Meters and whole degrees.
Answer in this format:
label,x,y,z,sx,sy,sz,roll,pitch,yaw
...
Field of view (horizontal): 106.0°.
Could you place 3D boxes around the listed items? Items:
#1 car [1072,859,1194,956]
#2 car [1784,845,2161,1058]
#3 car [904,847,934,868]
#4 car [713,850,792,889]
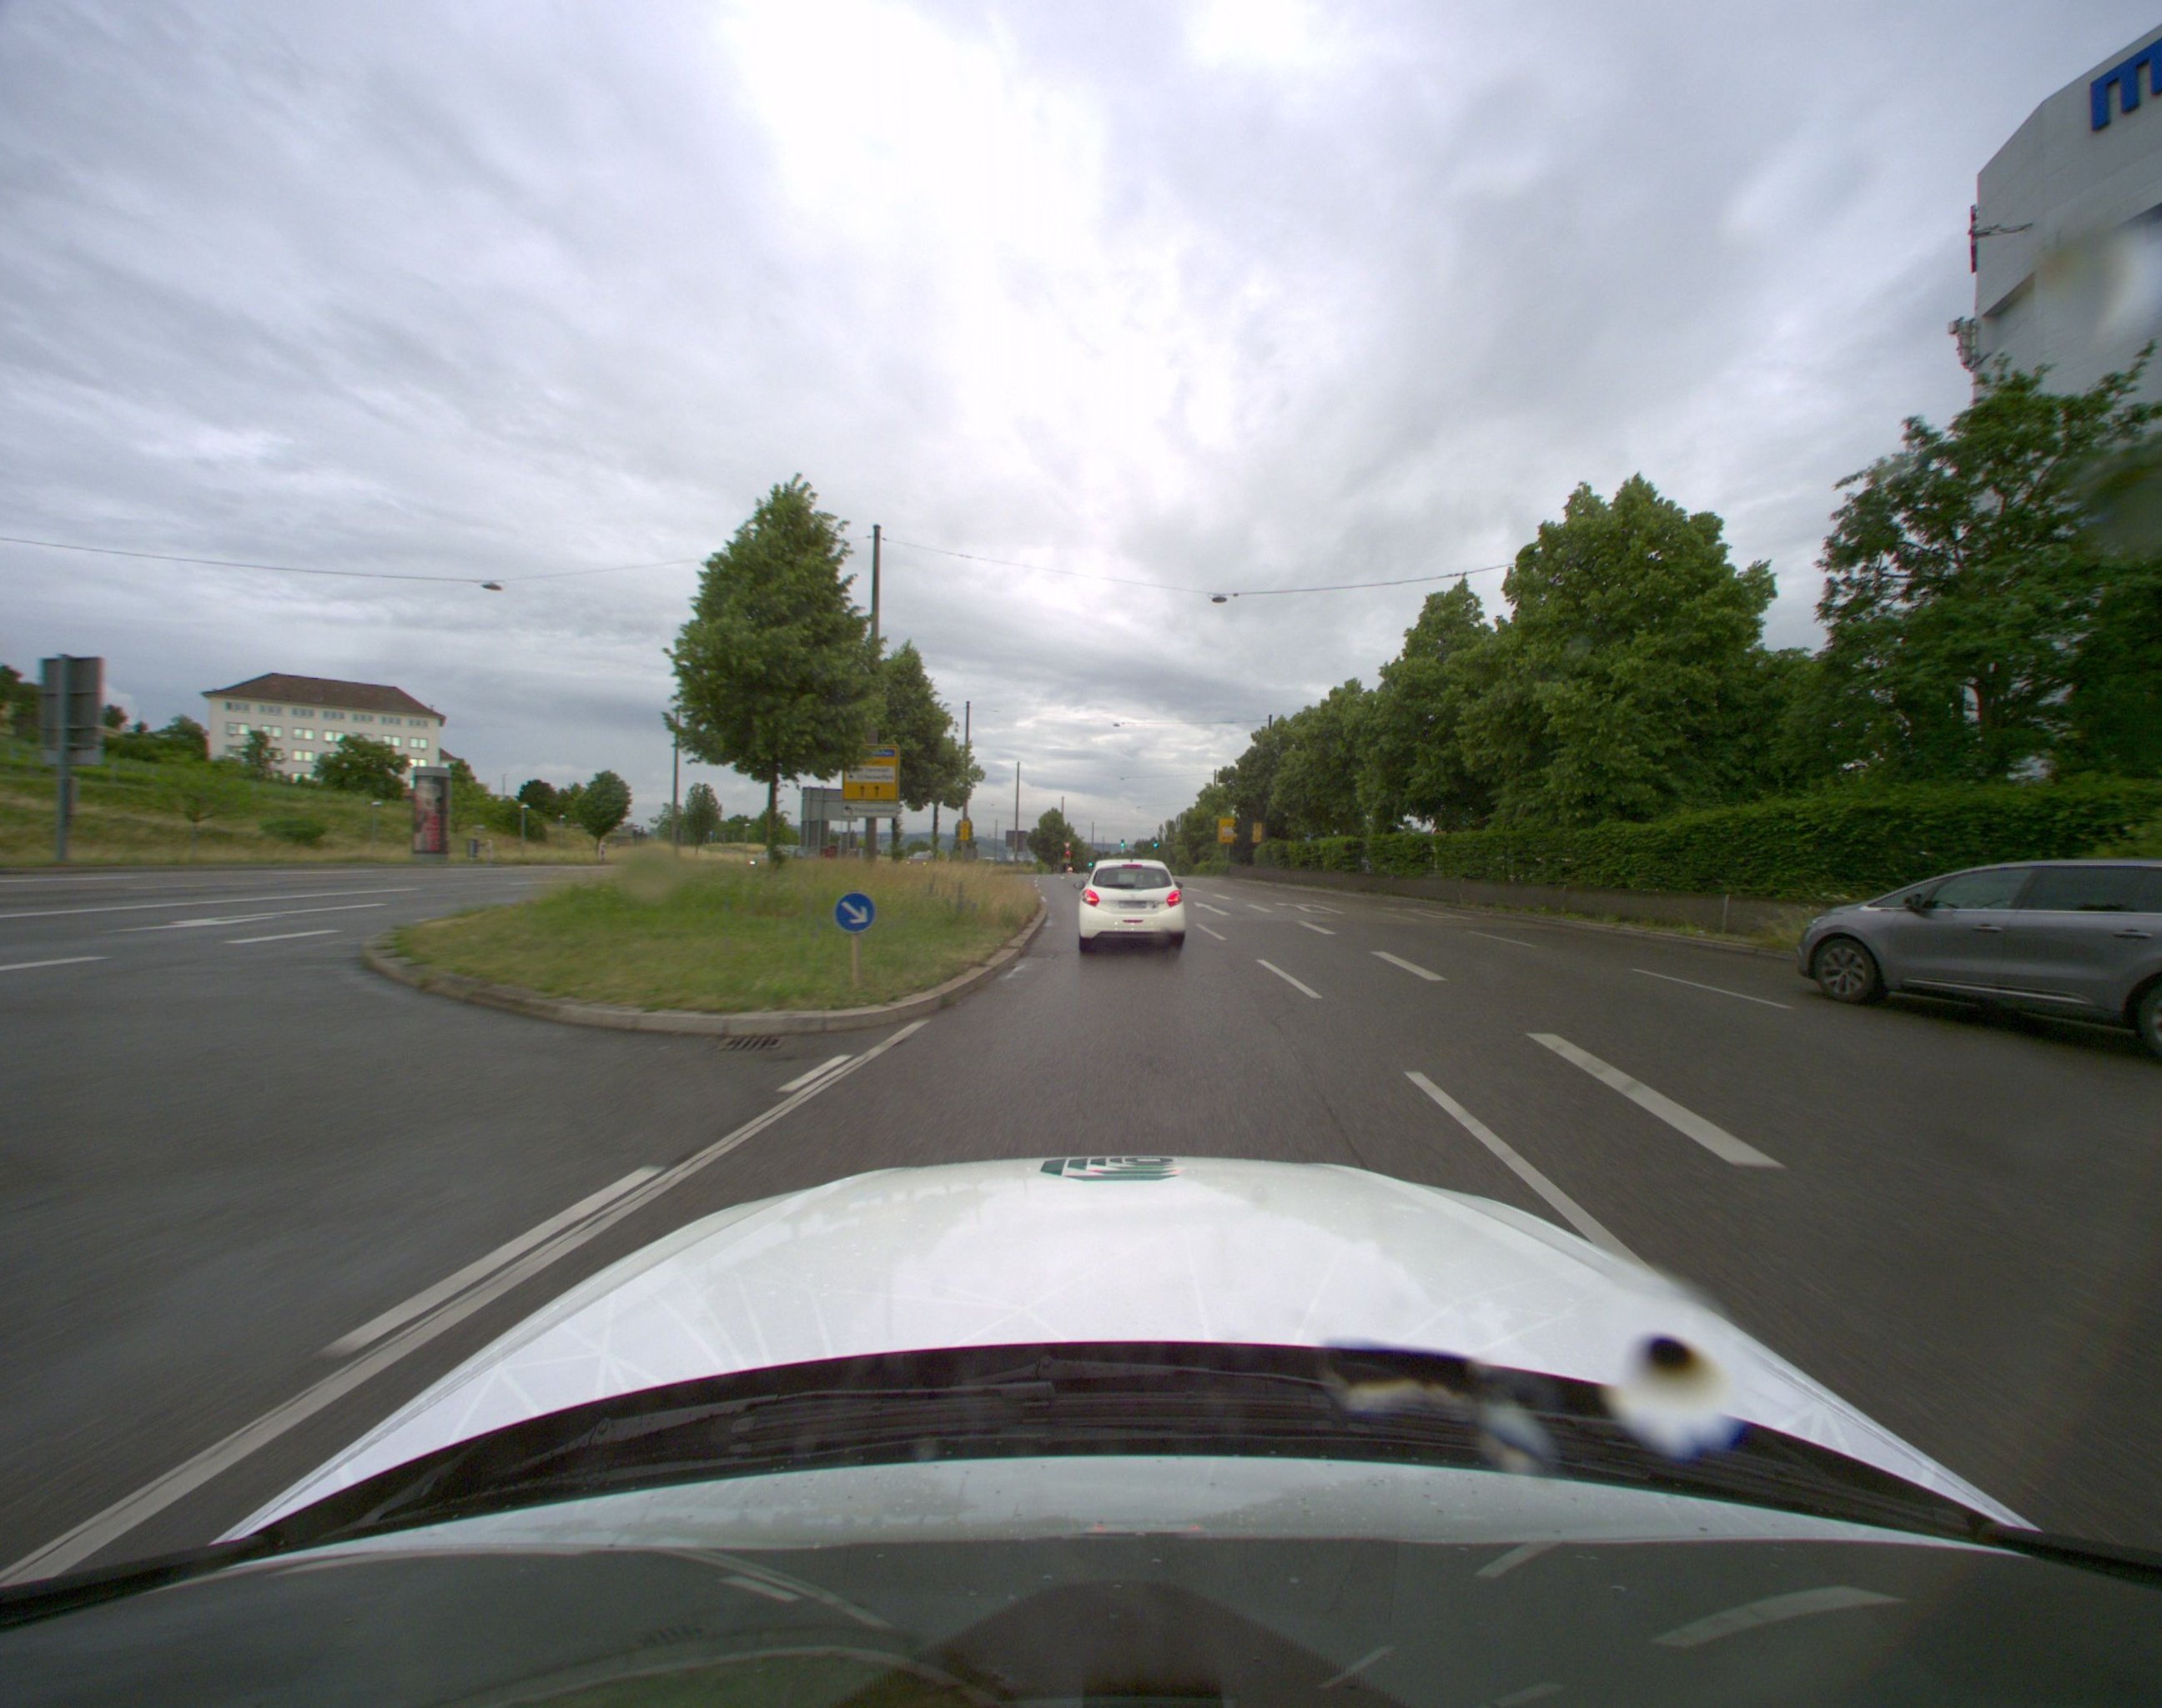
label,x,y,z,sx,sy,sz,roll,pitch,yaw
car,0.764,0.820,14.178,1.705,1.440,3.686,-1,-1,-3
car,9.305,0.803,7.528,1.719,1.649,4.627,3,0,2
car,-13.998,0.317,70.432,1.762,1.750,3.999,1,0,0
car,-14.813,0.668,37.009,1.873,1.654,4.354,1,0,-1
